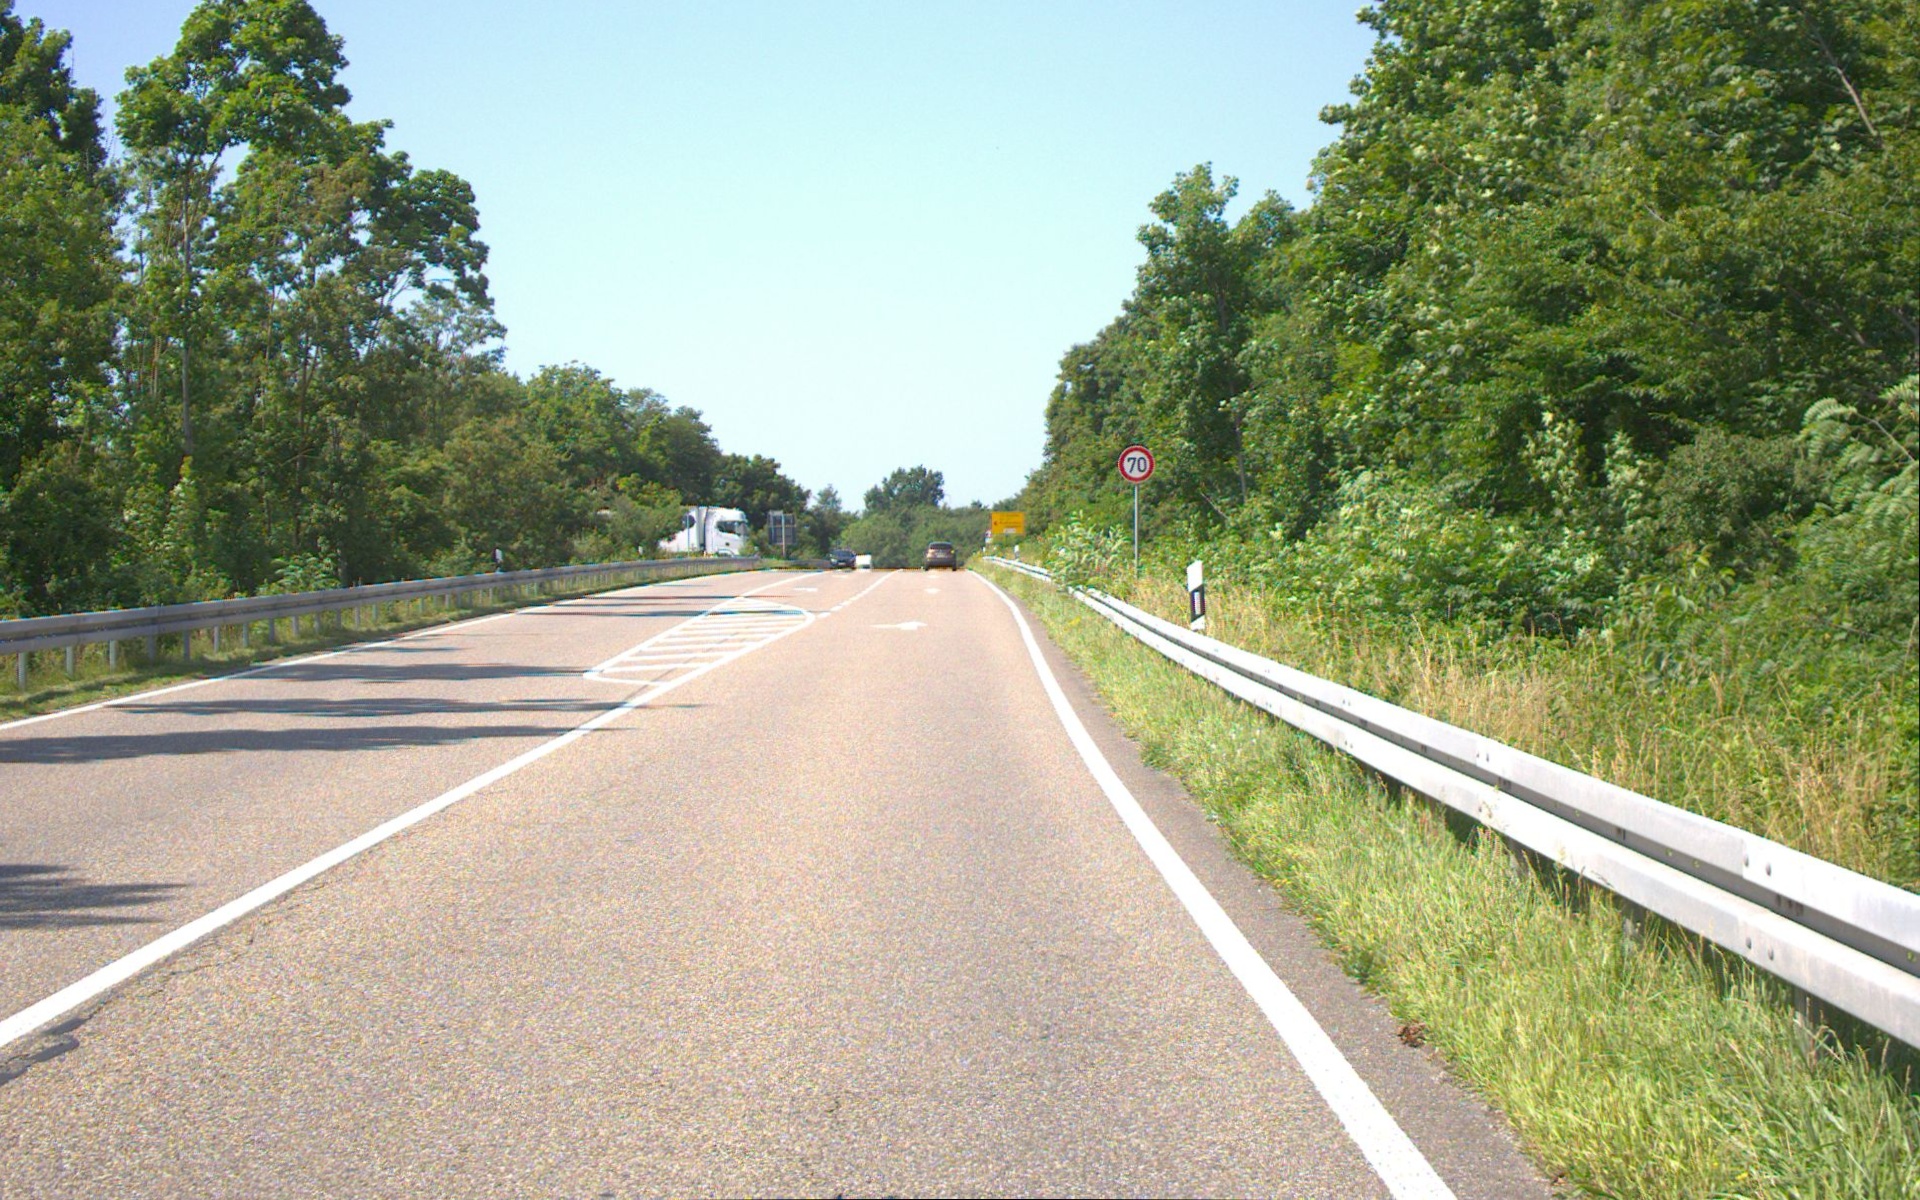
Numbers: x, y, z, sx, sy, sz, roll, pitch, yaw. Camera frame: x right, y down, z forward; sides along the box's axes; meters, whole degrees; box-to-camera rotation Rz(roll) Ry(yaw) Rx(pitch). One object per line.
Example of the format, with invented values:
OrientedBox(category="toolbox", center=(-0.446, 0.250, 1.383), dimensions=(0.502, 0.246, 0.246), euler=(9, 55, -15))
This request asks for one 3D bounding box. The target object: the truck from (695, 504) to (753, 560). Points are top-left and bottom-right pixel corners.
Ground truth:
OrientedBox(category="truck", center=(-15.089, -4.363, 219.974), dimensions=(3.465, 3.525, 2.000), euler=(0, 1, 2))

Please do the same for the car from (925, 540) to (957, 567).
OrientedBox(category="car", center=(-1.057, -2.583, 191.058), dimensions=(1.741, 1.465, 3.693), euler=(0, 1, 0))

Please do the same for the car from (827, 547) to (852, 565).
OrientedBox(category="car", center=(-9.014, -3.284, 256.563), dimensions=(1.730, 1.263, 3.905), euler=(0, 1, 0))

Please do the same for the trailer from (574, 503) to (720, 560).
OrientedBox(category="trailer", center=(-20.016, -4.387, 220.137), dimensions=(9.102, 3.566, 2.000), euler=(0, 1, 2))
